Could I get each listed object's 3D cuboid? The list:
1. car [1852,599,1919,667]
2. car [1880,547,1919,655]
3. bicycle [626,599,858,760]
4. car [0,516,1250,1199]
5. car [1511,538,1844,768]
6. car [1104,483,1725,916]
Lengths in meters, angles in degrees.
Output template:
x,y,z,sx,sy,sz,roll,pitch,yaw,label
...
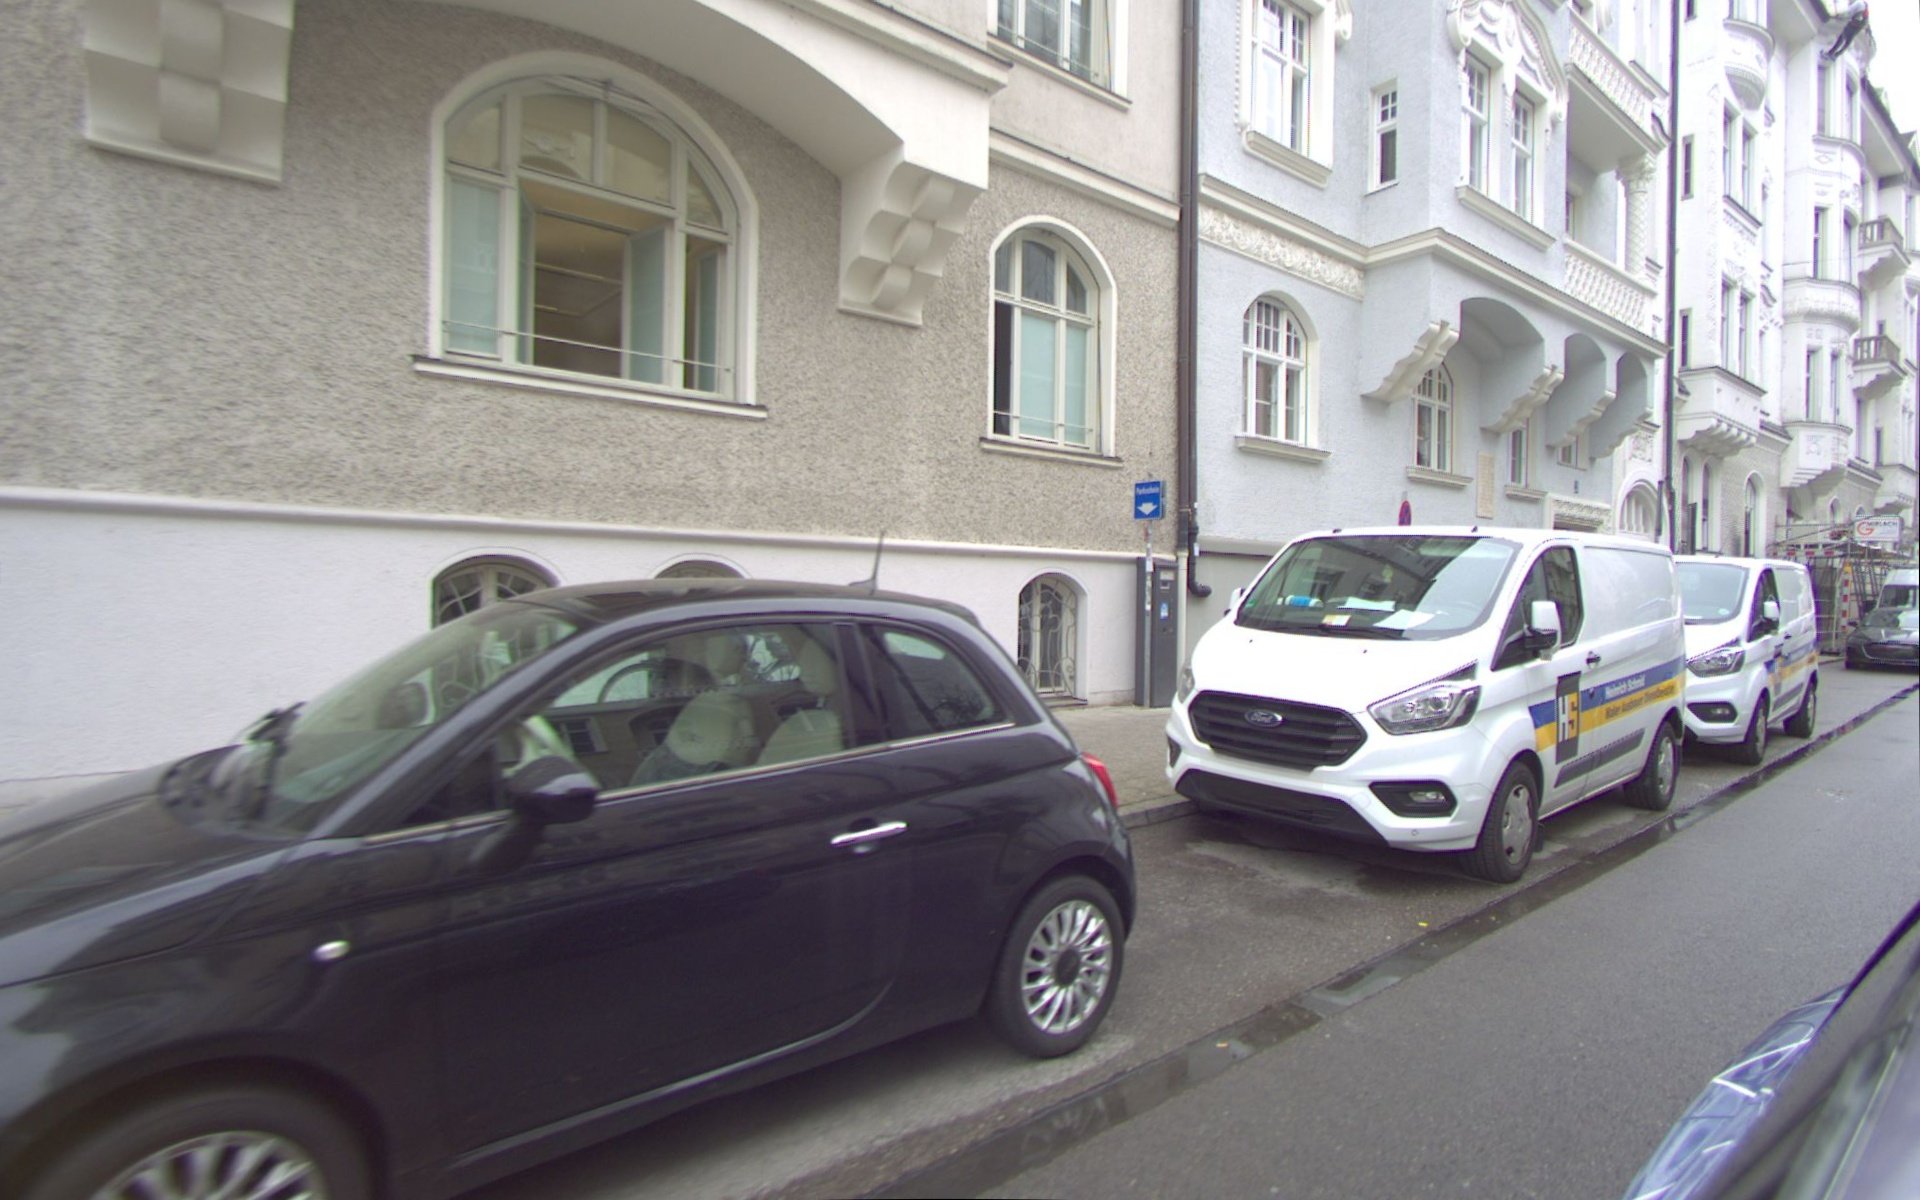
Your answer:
x,y,z,sx,sy,sz,roll,pitch,yaw,label
21.976,0.708,23.143,4.170,1.425,1.791,0,1,-41,car
26.527,0.044,27.110,5.349,2.721,2.081,0,2,-41,car
-1.709,0.570,8.091,1.691,1.147,0.667,0,1,-40,bicycle
-0.912,0.627,3.176,3.815,1.533,1.637,0,0,-39,car
7.912,0.426,10.952,4.795,1.942,1.996,0,1,-43,car
3.334,0.426,6.880,4.800,1.942,1.997,0,1,-41,car
